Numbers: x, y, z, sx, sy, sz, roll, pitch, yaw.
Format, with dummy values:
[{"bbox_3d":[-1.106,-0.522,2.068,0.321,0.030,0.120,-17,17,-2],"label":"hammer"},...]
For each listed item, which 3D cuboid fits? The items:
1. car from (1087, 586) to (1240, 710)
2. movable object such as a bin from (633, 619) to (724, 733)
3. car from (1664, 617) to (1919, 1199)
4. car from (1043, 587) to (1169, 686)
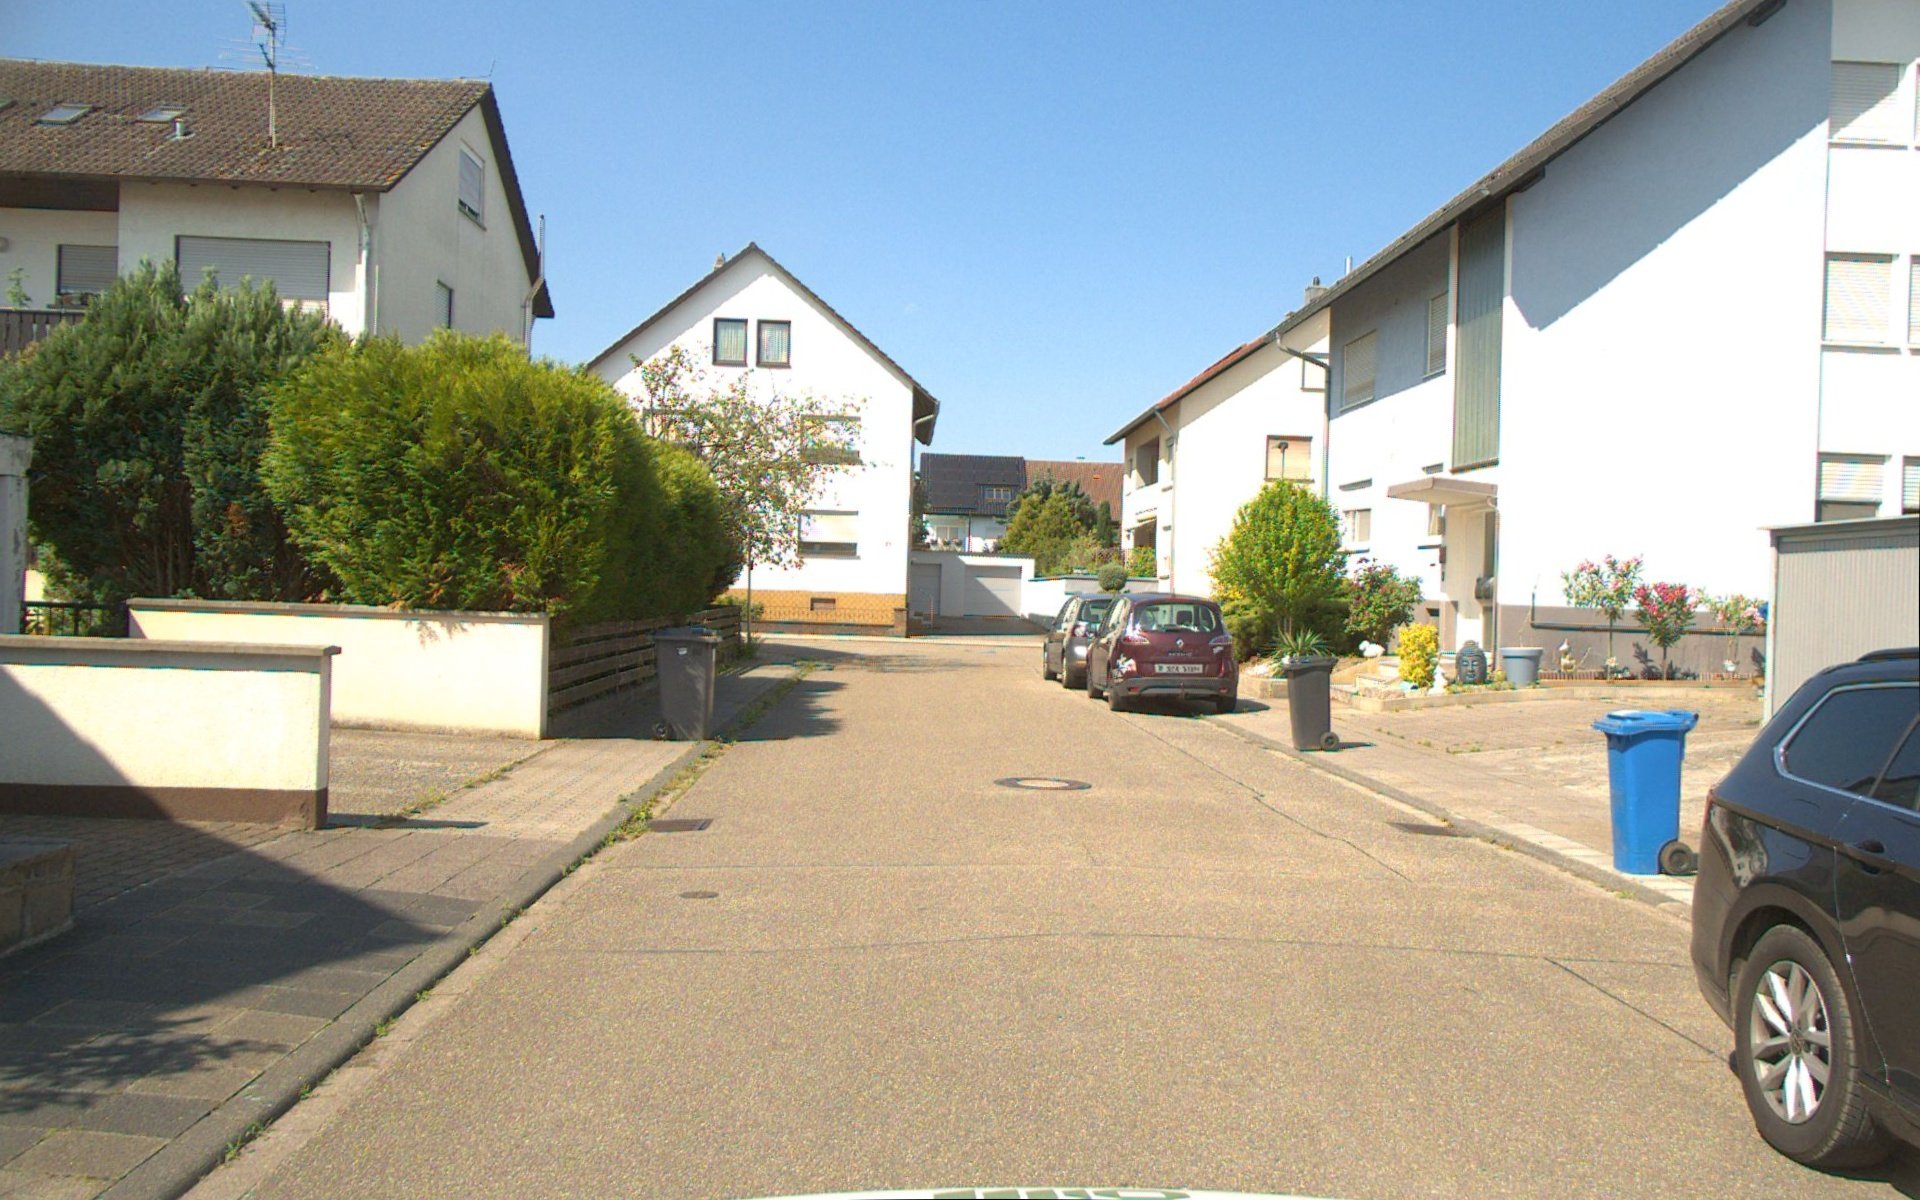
[{"bbox_3d":[2.877,0.623,24.134,1.612,1.609,4.146,1,1,-2],"label":"car"},{"bbox_3d":[-2.760,0.739,16.273,0.802,1.082,0.611,1,0,-3],"label":"movable object such as a bin"},{"bbox_3d":[3.233,0.823,3.349,1.682,1.463,4.503,1,0,0],"label":"car"},{"bbox_3d":[2.485,0.589,29.078,1.612,1.573,4.045,1,1,-3],"label":"car"}]
